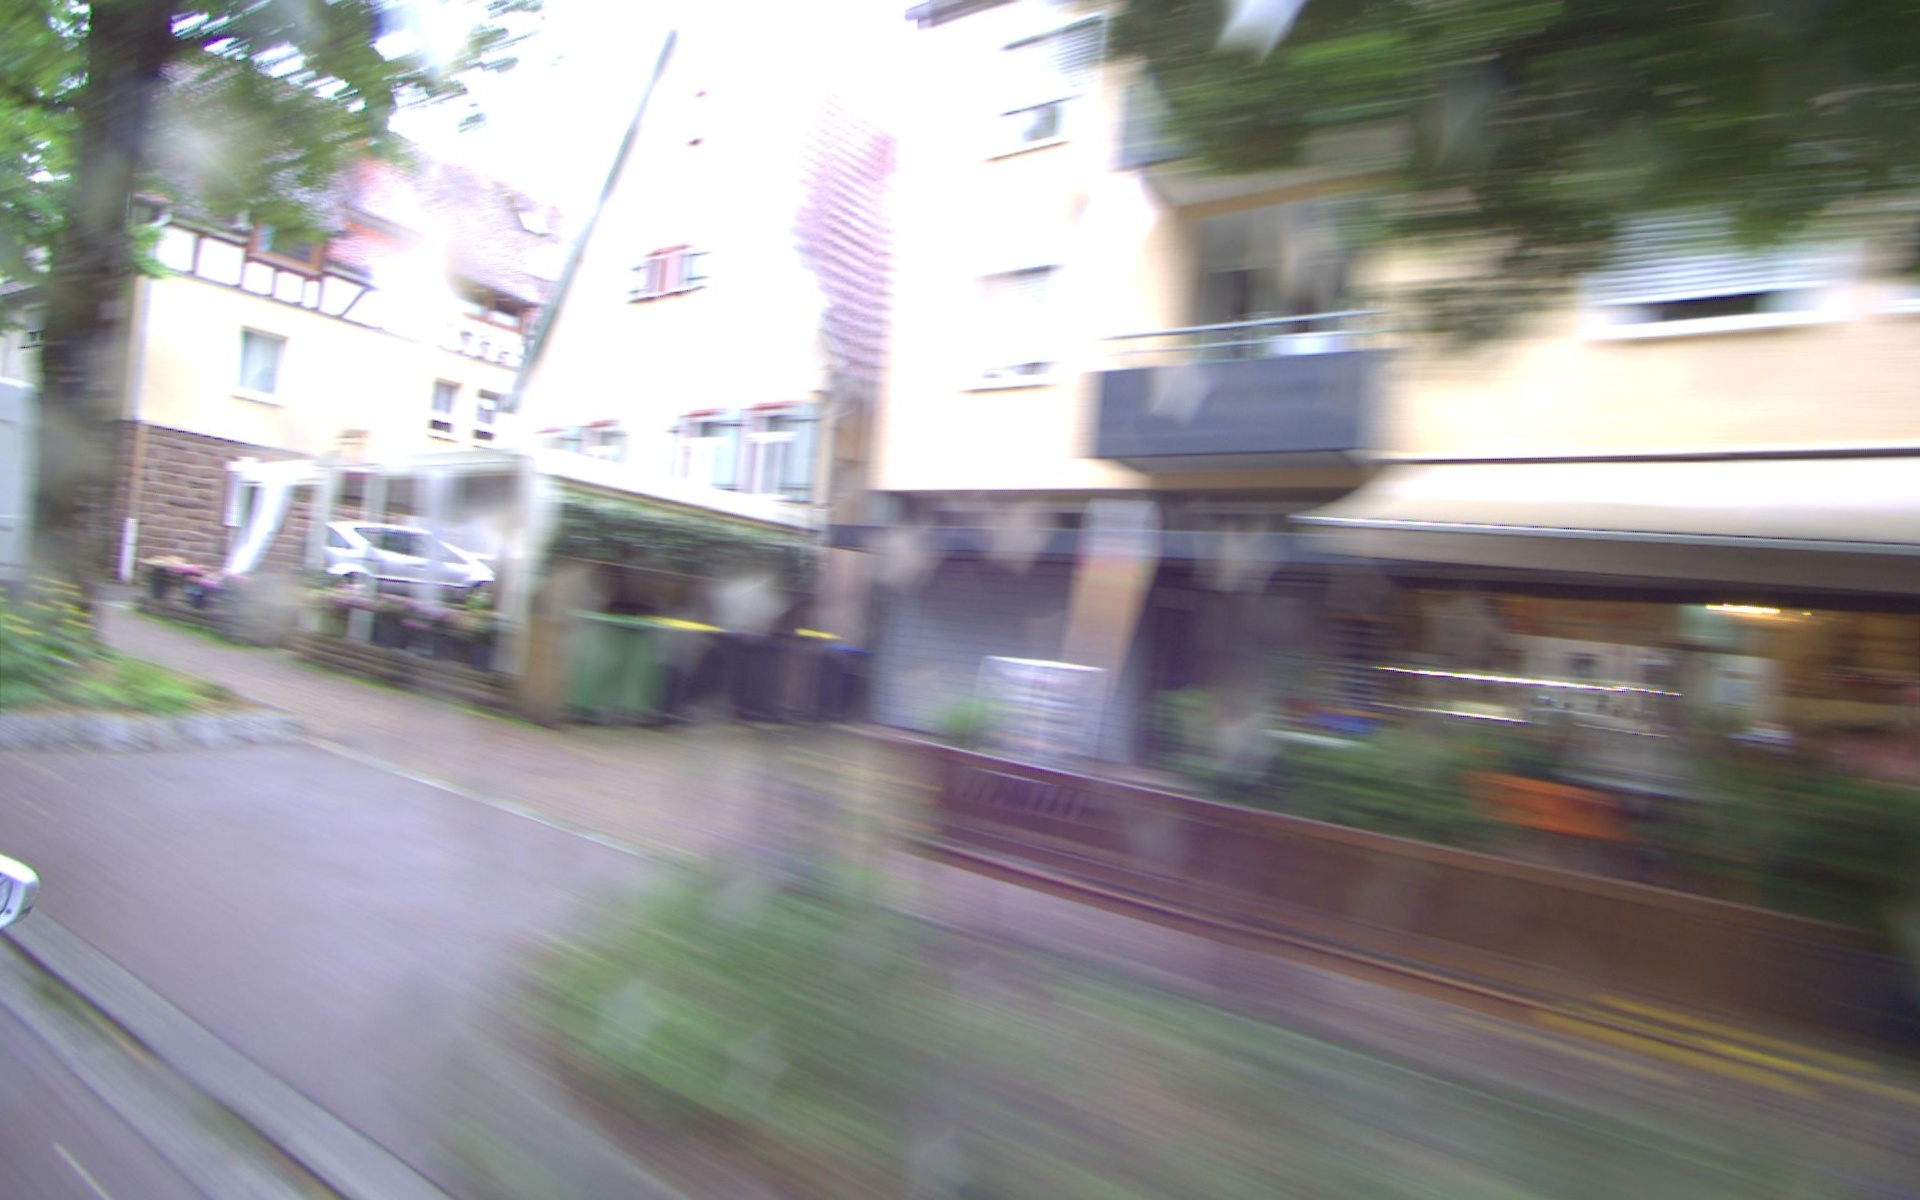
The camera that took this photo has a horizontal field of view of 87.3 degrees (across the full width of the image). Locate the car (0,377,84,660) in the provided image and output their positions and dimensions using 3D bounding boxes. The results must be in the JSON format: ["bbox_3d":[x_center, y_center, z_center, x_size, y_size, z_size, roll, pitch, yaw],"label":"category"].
[{"bbox_3d":[-11.120,-1.037,9.868,5.345,2.489,2.145,7,-1,32],"label":"car"}]

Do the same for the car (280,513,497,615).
[{"bbox_3d":[-11.172,-0.668,19.803,1.637,1.615,3.281,6,0,39],"label":"car"}]
